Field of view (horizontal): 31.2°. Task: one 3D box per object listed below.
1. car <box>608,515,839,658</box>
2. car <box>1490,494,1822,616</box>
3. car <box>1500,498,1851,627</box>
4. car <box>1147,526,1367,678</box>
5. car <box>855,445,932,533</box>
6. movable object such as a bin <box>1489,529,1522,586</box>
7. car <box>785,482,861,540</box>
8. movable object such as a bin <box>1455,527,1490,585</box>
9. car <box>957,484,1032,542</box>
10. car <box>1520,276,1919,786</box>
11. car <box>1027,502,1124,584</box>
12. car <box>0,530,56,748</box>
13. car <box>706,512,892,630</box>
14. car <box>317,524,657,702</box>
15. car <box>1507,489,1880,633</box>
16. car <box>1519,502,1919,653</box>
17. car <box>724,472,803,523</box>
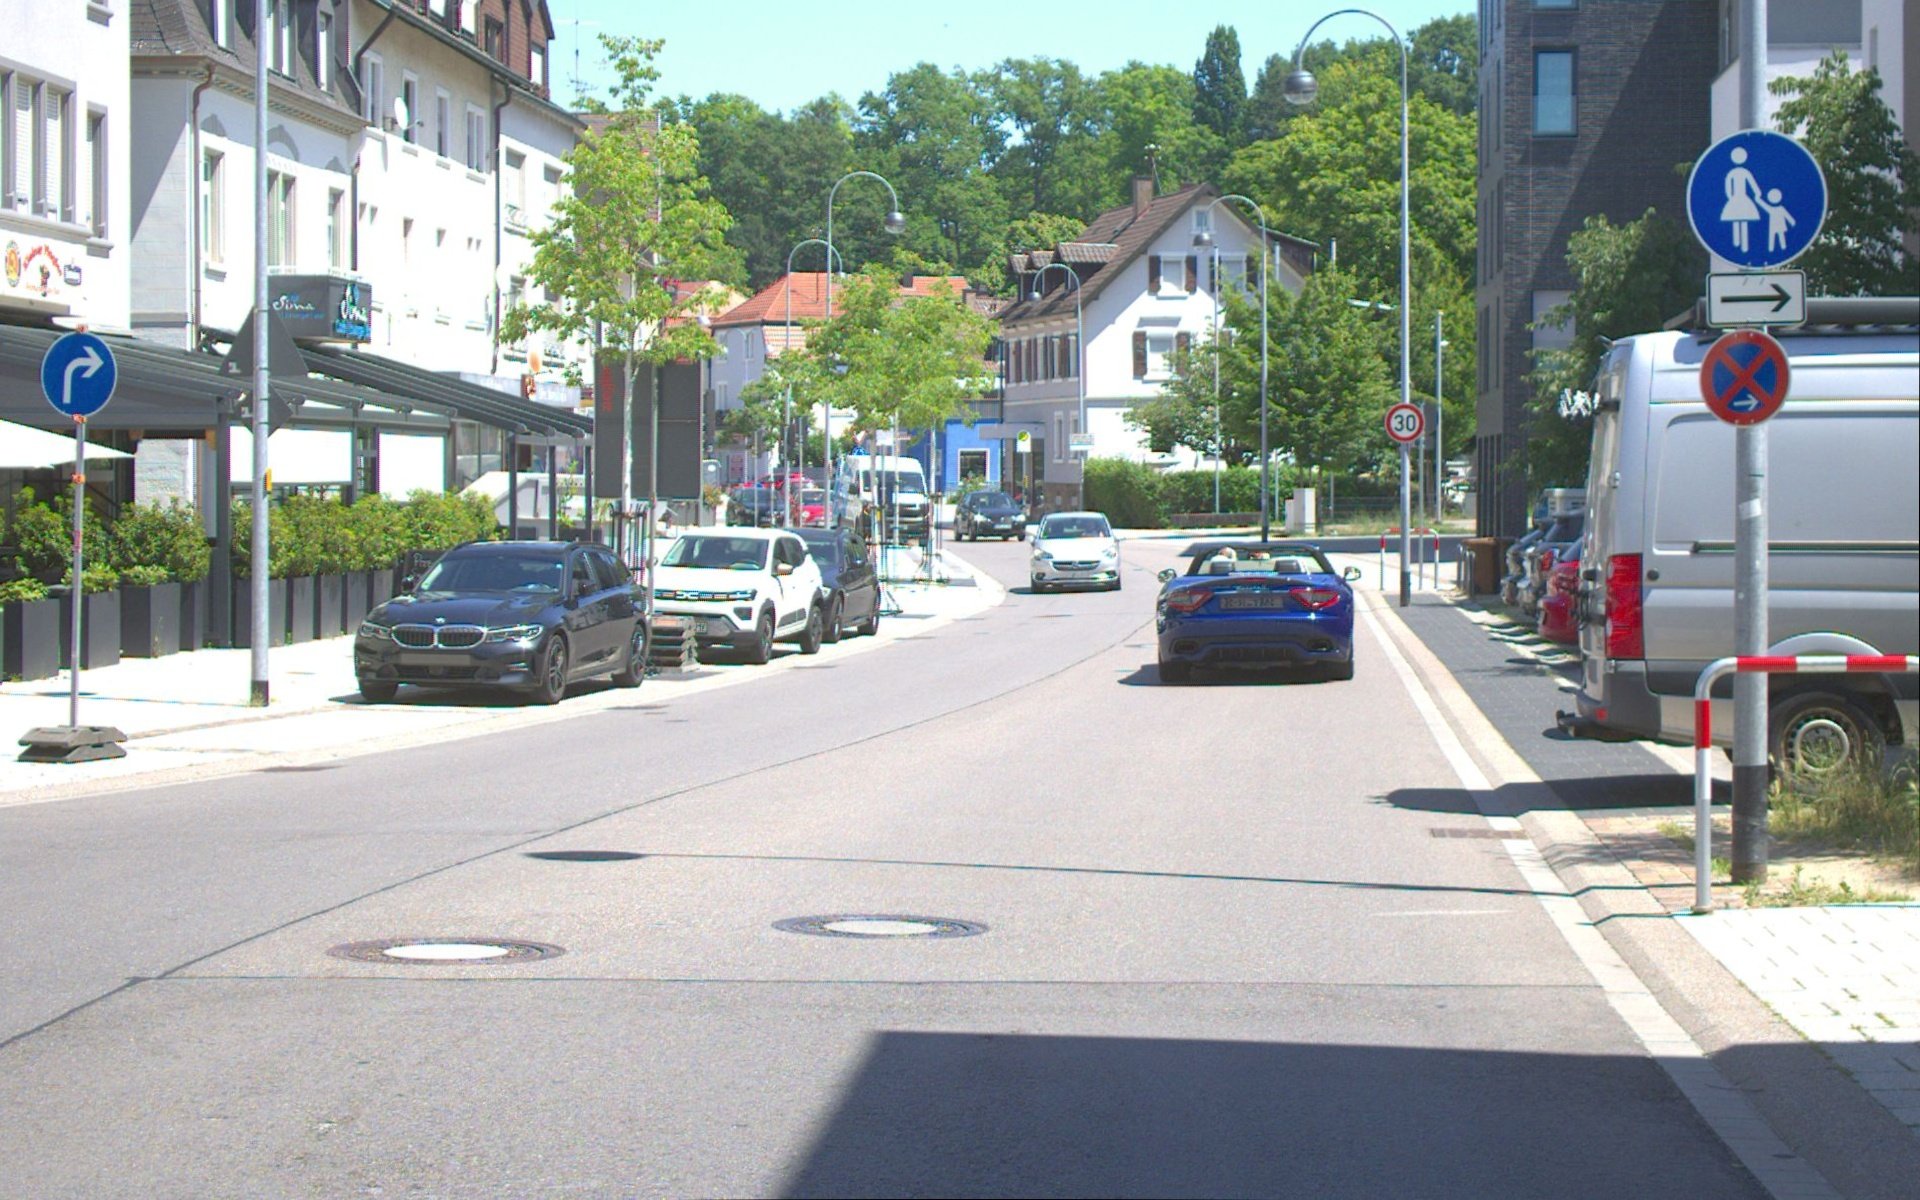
[{"bbox_3d":[-2.682,-0.201,39.846,1.645,1.474,3.939,2,3,11],"label":"car"},{"bbox_3d":[8.833,-0.590,43.876,3.981,1.524,1.740,0,2,6],"label":"car"},{"bbox_3d":[8.658,-0.473,41.883,3.981,1.524,1.943,0,2,6],"label":"car"},{"bbox_3d":[3.057,-0.022,34.602,1.871,1.337,4.595,-1,2,9],"label":"car"},{"bbox_3d":[-1.887,-3.112,96.193,1.866,2.392,4.819,0,2,-5],"label":"car"},{"bbox_3d":[9.006,-0.707,56.763,0.495,0.926,0.623,-2,1,7],"label":"movable object such as a bin"},{"bbox_3d":[-4.218,-2.739,105.211,1.993,1.732,4.001,0,1,-7],"label":"car"},{"bbox_3d":[8.476,-0.732,56.837,0.537,0.926,0.623,-2,1,7],"label":"movable object such as a bin"},{"bbox_3d":[0.989,-2.541,100.059,1.660,1.601,4.001,-2,2,-6],"label":"car"},{"bbox_3d":[6.217,-0.391,19.321,5.941,2.723,2.196,0,1,6],"label":"car"},{"bbox_3d":[2.235,-1.115,65.615,1.687,1.453,4.058,-2,2,4],"label":"car"},{"bbox_3d":[-7.648,0.244,21.908,1.714,1.455,4.126,3,1,16],"label":"car"},{"bbox_3d":[-2.068,-0.422,45.310,1.670,1.438,4.008,0,2,9],"label":"car"},{"bbox_3d":[-4.321,0.057,32.189,1.835,1.424,4.781,2,2,9],"label":"car"},{"bbox_3d":[8.349,-0.469,39.417,3.981,1.599,1.943,0,2,6],"label":"car"},{"bbox_3d":[7.620,-0.237,34.073,3.971,1.404,1.857,-1,1,5],"label":"car"},{"bbox_3d":[-6.721,-3.508,117.347,1.993,1.686,4.002,0,2,-13],"label":"car"}]
